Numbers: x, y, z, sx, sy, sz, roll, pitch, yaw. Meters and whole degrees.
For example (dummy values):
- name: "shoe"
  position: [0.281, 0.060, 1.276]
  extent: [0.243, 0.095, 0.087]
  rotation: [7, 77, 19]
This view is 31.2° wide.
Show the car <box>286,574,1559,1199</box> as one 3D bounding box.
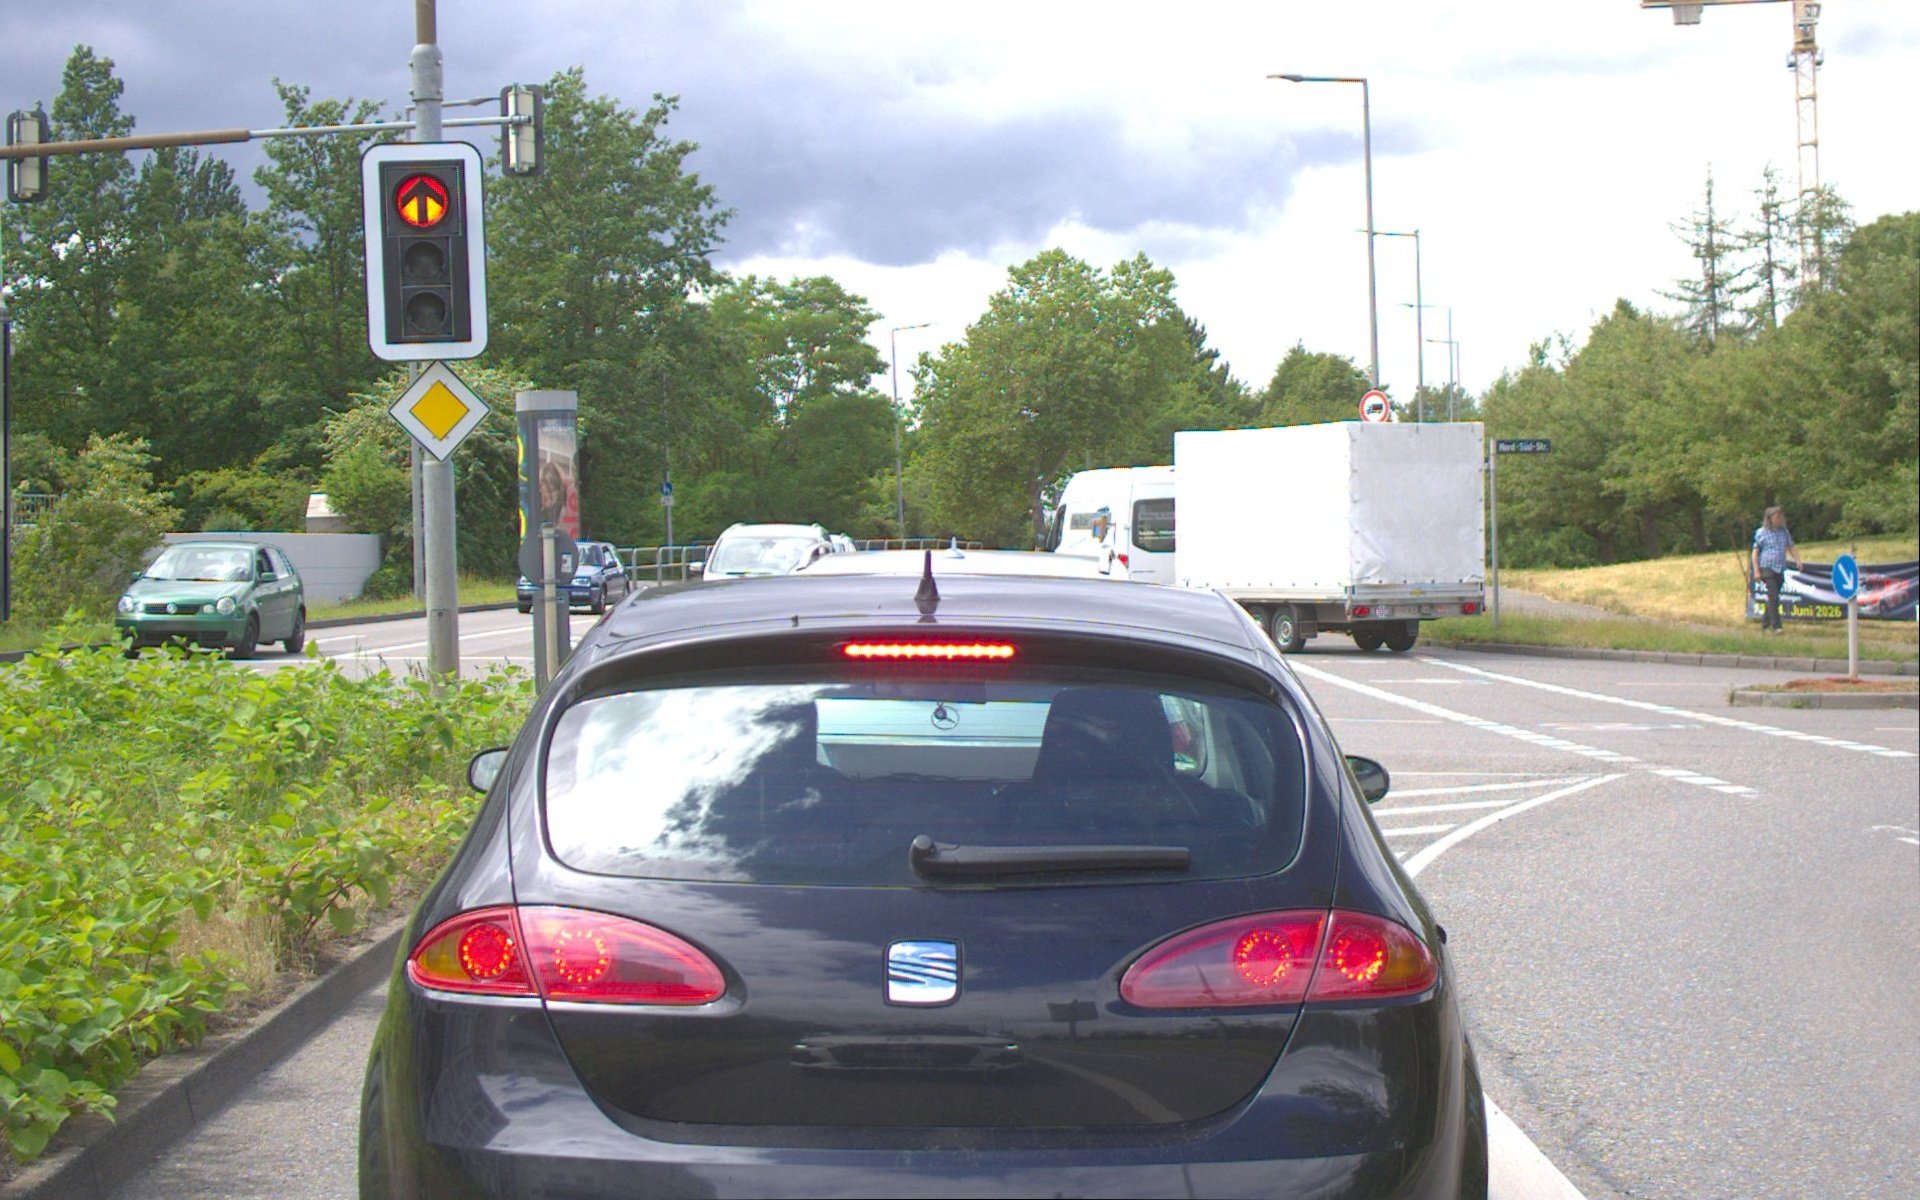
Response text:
- name: "car"
  position: [-0.067, 0.688, 6.375]
  extent: [1.711, 1.412, 3.459]
  rotation: [1, 1, 0]

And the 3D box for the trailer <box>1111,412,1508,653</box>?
- name: "trailer"
  position: [4.661, -0.897, 46.893]
  extent: [2.491, 3.063, 5.587]
  rotation: [0, 1, -31]

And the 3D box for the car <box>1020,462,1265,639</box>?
- name: "car"
  position: [2.680, -0.742, 52.282]
  extent: [2.126, 2.509, 5.837]
  rotation: [1, 1, -13]

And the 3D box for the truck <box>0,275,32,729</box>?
- name: "truck"
  position: [-9.696, -0.705, 22.657]
  extent: [3.169, 3.506, 9.523]
  rotation: [1, 1, 10]

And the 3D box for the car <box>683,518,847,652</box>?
- name: "car"
  position: [-2.565, -0.247, 46.221]
  extent: [1.820, 1.681, 4.645]
  rotation: [1, 1, 1]

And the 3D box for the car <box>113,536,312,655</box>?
- name: "car"
  position: [-9.395, -0.091, 43.471]
  extent: [1.605, 1.427, 3.752]
  rotation: [0, 1, 2]

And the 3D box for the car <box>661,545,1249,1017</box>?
- name: "car"
  position: [0.005, 0.552, 12.715]
  extent: [1.834, 1.462, 3.751]
  rotation: [1, 1, 1]

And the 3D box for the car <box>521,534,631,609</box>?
- name: "car"
  position: [-7.597, -0.583, 68.240]
  extent: [1.554, 1.414, 3.895]
  rotation: [0, 1, 3]

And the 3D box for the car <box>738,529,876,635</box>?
- name: "car"
  position: [-2.283, -0.301, 52.299]
  extent: [1.660, 1.513, 4.084]
  rotation: [1, 1, 4]

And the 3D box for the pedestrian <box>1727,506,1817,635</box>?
- name: "pedestrian"
  position: [11.425, -0.415, 48.389]
  extent: [0.718, 1.786, 1.044]
  rotation: [1, 0, -27]
